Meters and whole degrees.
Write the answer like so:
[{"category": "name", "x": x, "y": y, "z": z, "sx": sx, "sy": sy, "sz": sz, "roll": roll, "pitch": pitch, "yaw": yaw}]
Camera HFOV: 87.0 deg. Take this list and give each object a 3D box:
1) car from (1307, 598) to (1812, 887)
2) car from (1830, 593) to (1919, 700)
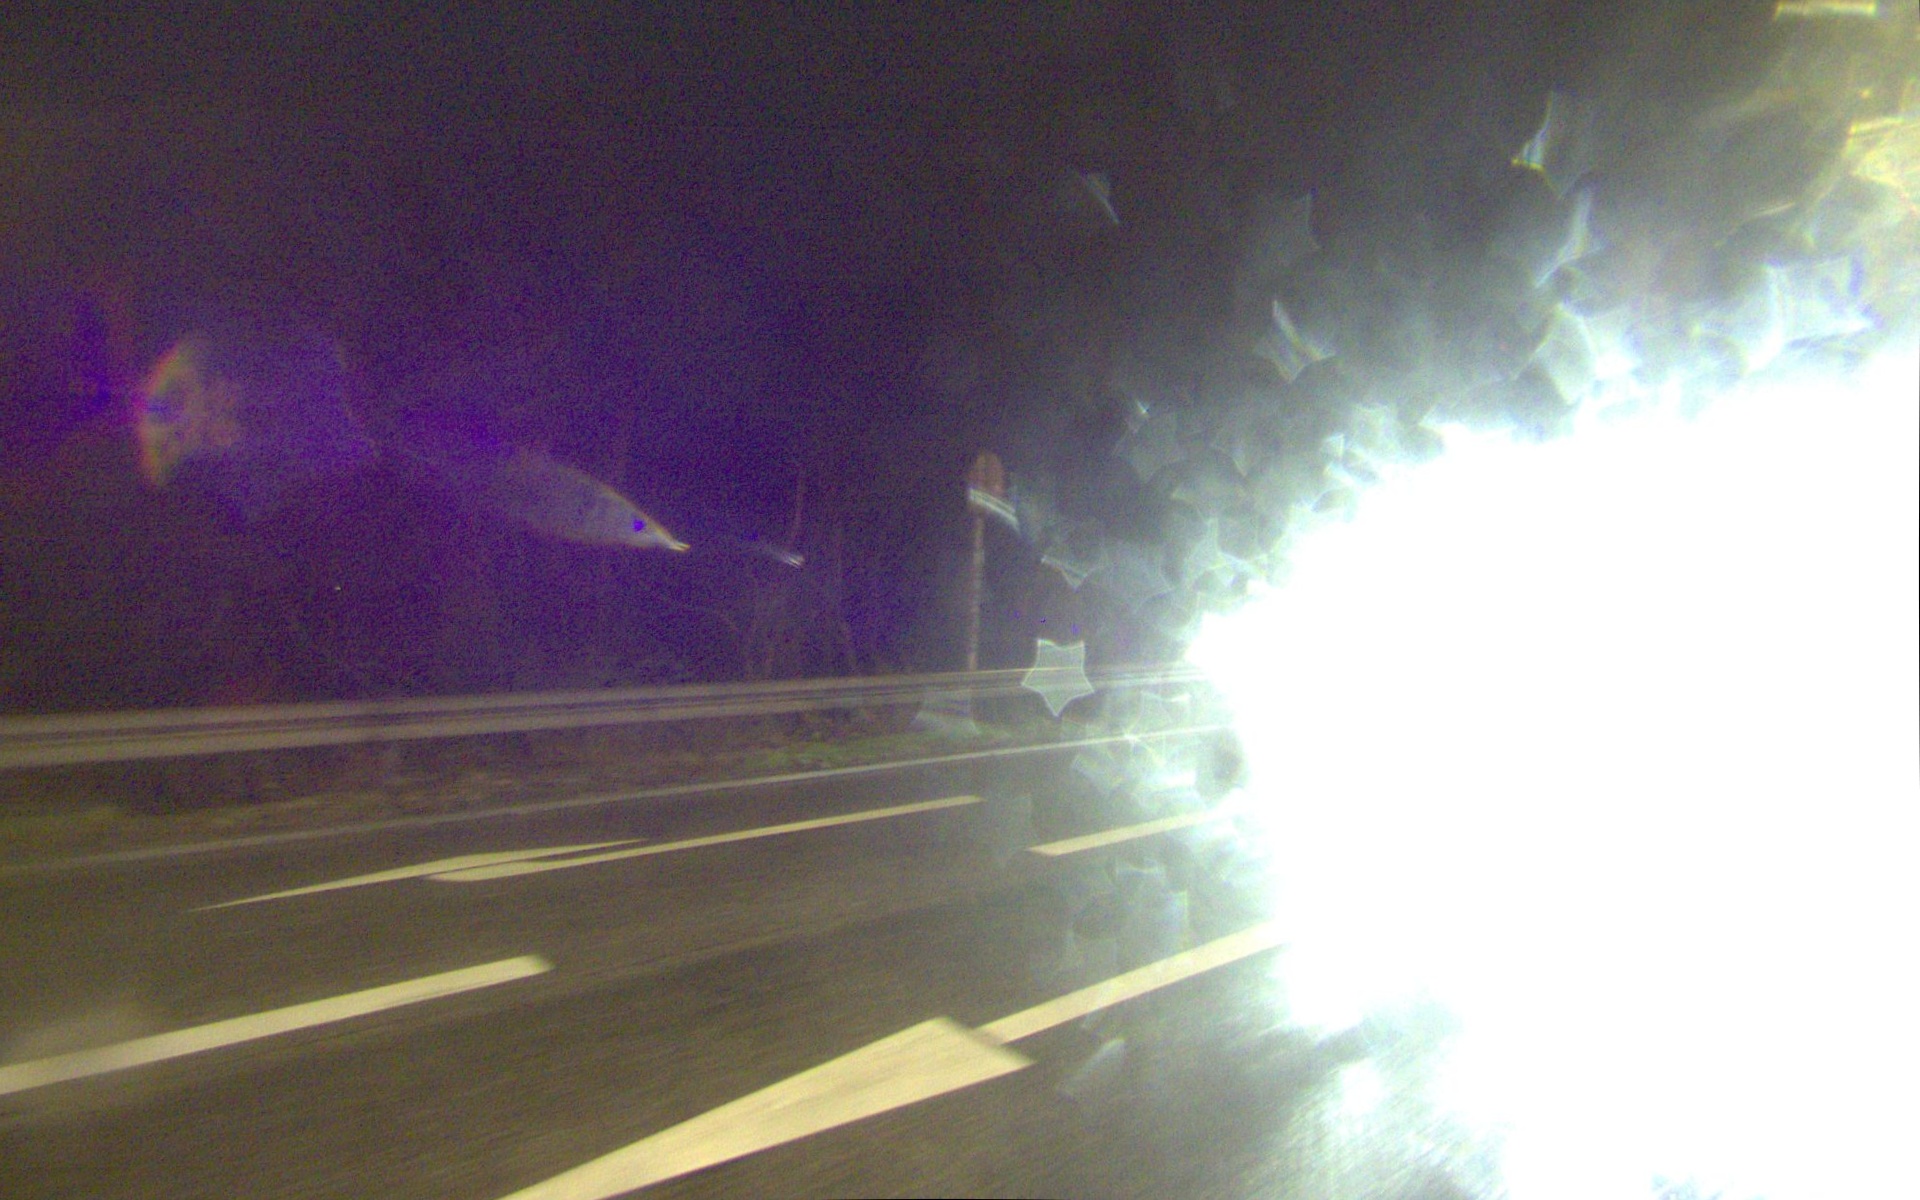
[{"category": "car", "x": 4.554, "y": 0.733, "z": 7.341, "sx": 4.641, "sy": 1.467, "sz": 1.734, "roll": 0, "pitch": -1, "yaw": -41}, {"category": "car", "x": 15.135, "y": 0.645, "z": 15.590, "sx": 4.485, "sy": 1.503, "sz": 1.826, "roll": 0, "pitch": 0, "yaw": -39}]
